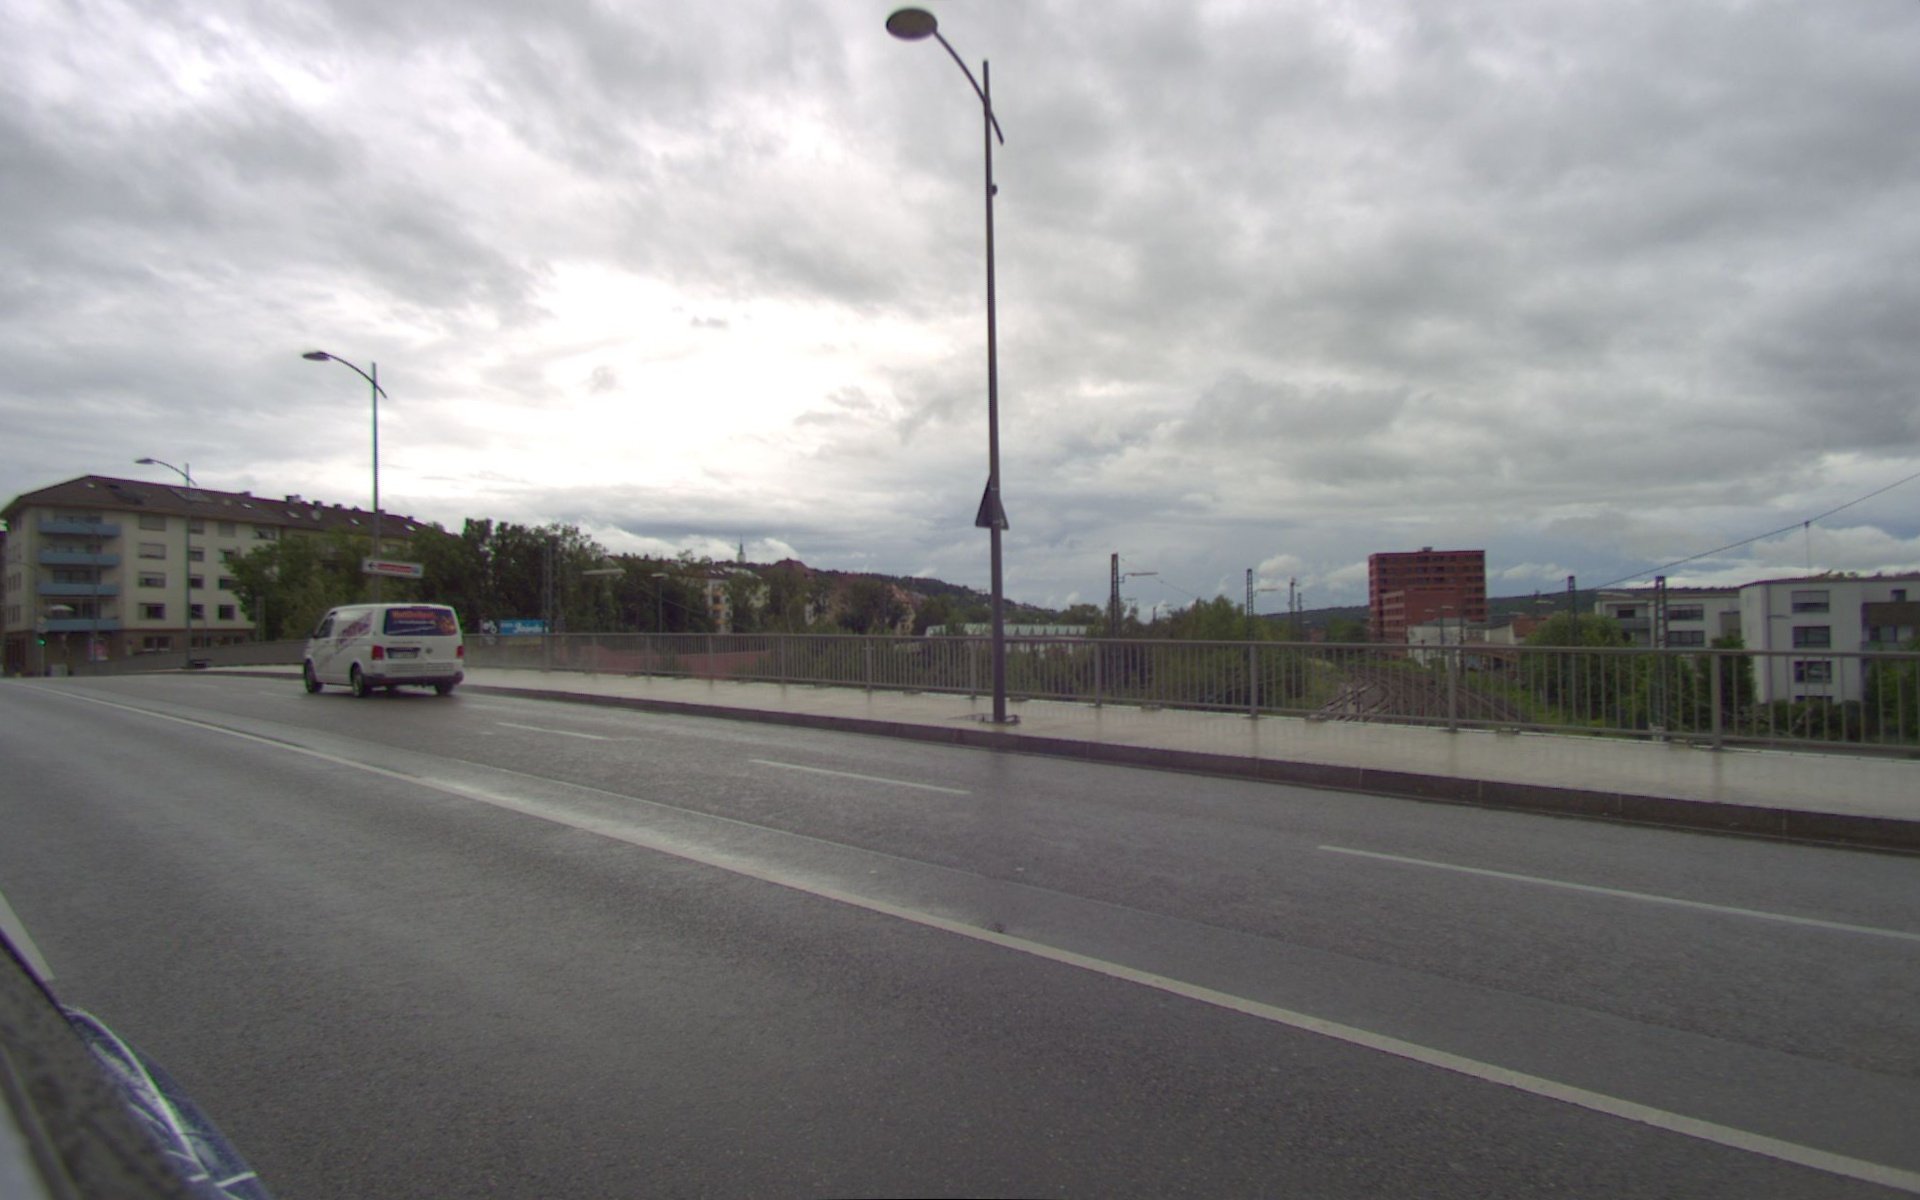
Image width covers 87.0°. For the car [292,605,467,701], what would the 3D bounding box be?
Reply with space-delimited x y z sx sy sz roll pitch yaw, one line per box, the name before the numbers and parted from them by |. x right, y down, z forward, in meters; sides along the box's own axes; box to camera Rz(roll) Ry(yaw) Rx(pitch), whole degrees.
car | -12.728 1.088 22.040 4.957 1.836 1.866 -2 0 42
